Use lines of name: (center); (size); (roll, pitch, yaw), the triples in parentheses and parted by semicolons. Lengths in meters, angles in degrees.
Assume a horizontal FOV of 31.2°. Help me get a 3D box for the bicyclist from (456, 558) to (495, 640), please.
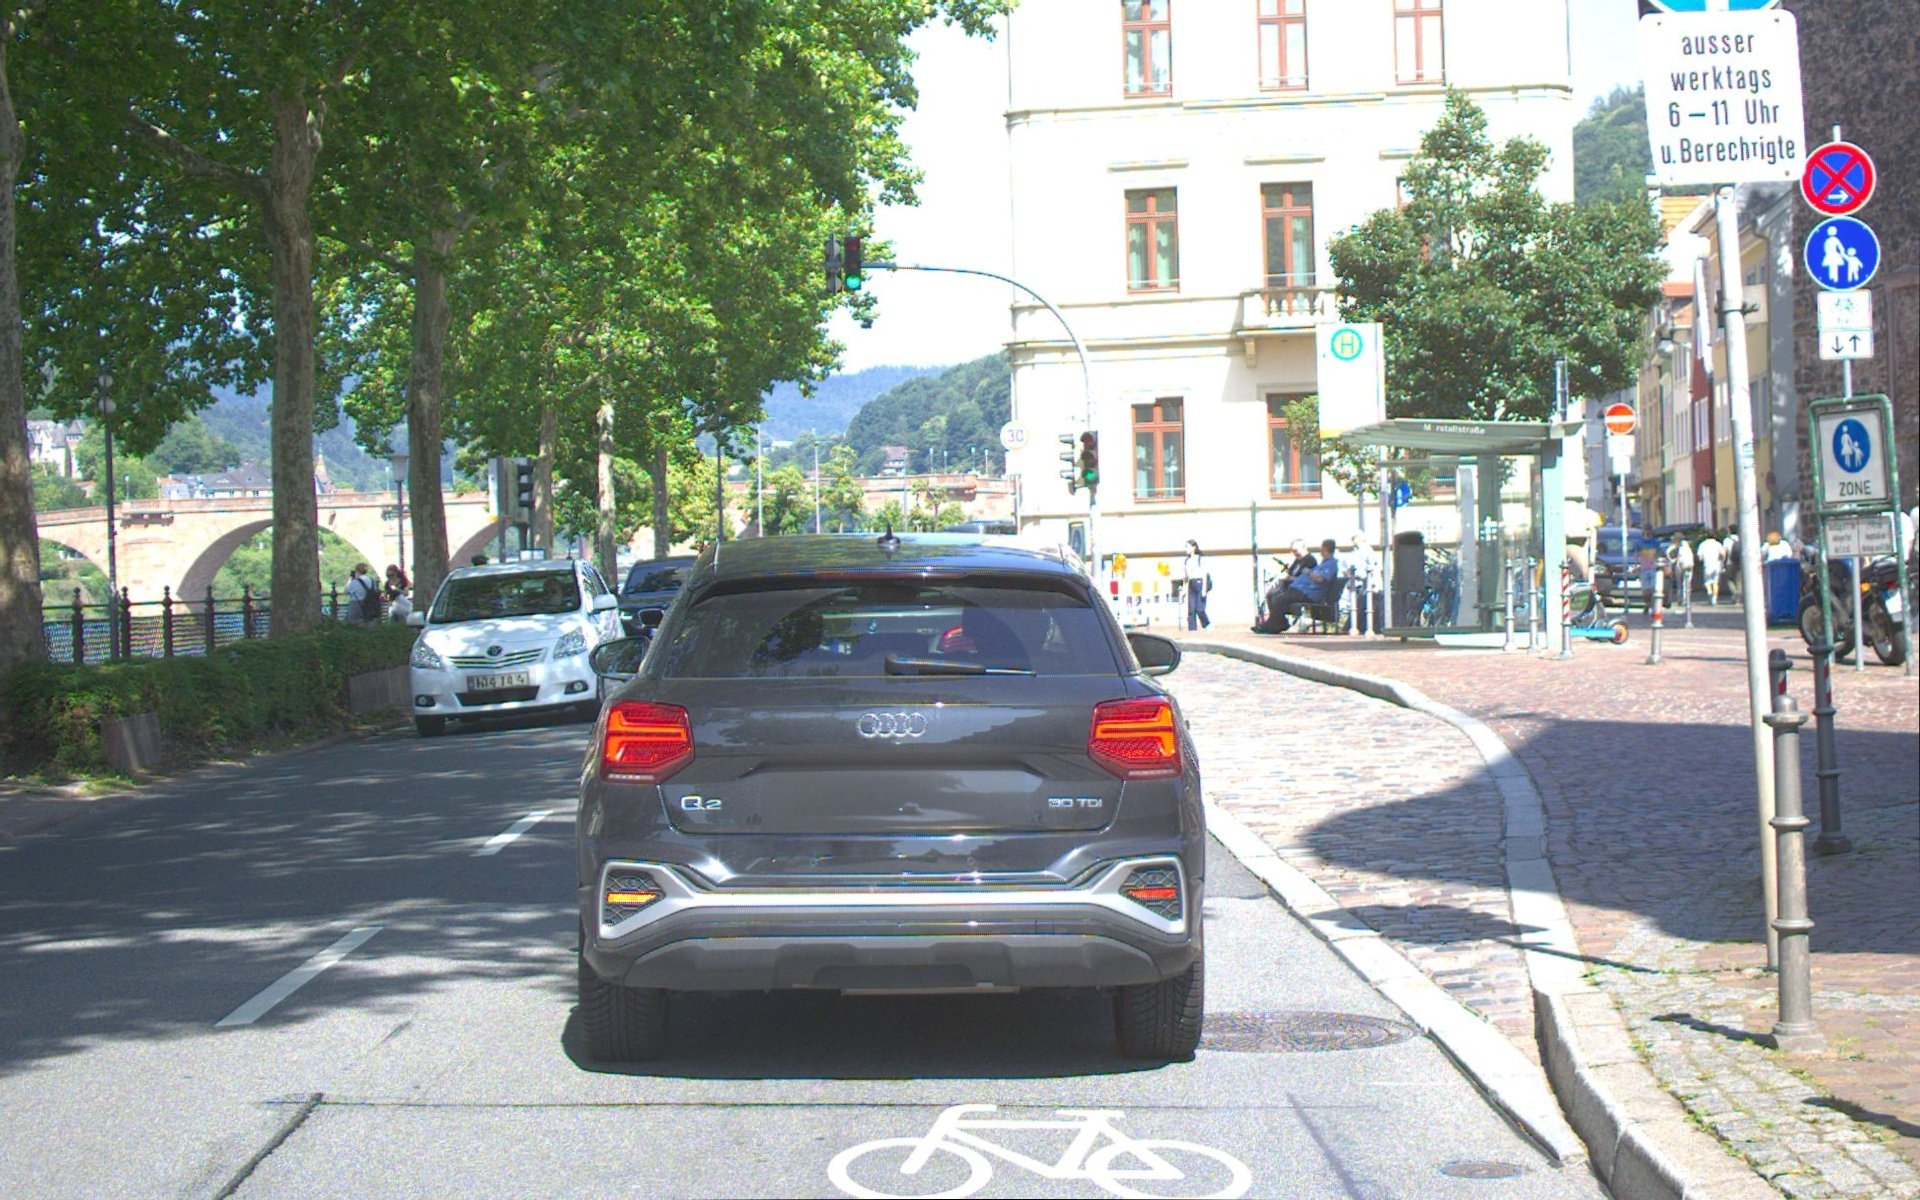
bicyclist: (-7.741, -0.013, 54.964); (0.566, 1.307, 0.552); (1, 0, -5)

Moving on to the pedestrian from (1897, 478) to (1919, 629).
pedestrian: (12.504, -0.587, 44.174); (0.668, 1.913, 0.821); (1, 0, -2)

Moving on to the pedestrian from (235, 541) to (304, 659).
pedestrian: (-10.804, -0.001, 53.812); (0.911, 1.838, 0.585); (1, 0, 4)

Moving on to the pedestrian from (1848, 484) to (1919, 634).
pedestrian: (11.735, -0.511, 43.640); (0.668, 1.877, 0.821); (1, 0, -2)

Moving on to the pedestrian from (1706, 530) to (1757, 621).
pedestrian: (17.106, -0.542, 76.254); (0.940, 2.007, 0.807); (1, 0, 0)

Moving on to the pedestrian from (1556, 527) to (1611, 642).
pedestrian: (7.511, -0.187, 41.443); (0.557, 1.380, 0.588); (1, 0, 2)

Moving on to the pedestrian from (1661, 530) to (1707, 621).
pedestrian: (16.088, -0.546, 76.382); (0.839, 2.007, 0.738); (1, 0, 0)

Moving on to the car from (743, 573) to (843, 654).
car: (-3.780, 0.299, 78.380); (1.993, 1.800, 4.000); (1, 0, 1)

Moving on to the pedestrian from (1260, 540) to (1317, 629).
pedestrian: (4.578, -0.212, 47.889); (0.663, 1.227, 0.641); (1, 0, -6)

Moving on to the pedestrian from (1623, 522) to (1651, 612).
pedestrian: (12.713, -0.617, 64.577); (0.449, 1.675, 0.466); (1, 0, 3)

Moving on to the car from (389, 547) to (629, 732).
car: (-4.339, 0.328, 33.616); (1.738, 1.567, 4.092); (-4, 1, -1)

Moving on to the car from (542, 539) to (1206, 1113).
car: (-0.248, 0.565, 10.878); (1.743, 1.504, 3.647); (0, 1, -1)

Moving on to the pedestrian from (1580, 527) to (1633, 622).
pedestrian: (13.750, -0.546, 73.151); (0.944, 2.007, 0.807); (1, 0, 0)

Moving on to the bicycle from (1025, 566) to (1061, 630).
bicycle: (1.413, -0.036, 58.695); (0.437, 1.082, 1.677); (1, 0, -5)

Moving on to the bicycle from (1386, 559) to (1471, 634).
bicycle: (6.541, -0.048, 47.987); (1.201, 1.031, 0.179); (1, 0, -19)

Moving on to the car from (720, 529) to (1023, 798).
car: (-0.552, 0.356, 22.263); (1.793, 1.589, 3.399); (1, 1, -1)

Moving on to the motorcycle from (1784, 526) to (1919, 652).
motorcycle: (7.613, -0.108, 29.155); (0.566, 1.009, 2.490); (-1, 1, -2)

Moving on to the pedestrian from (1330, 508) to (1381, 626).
pedestrian: (6.786, -0.564, 58.954); (0.640, 2.007, 0.664); (0, 0, 29)

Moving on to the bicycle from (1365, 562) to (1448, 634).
bicycle: (6.317, -0.023, 48.626); (1.184, 1.012, 0.179); (1, 0, -19)

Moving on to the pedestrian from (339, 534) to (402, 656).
pedestrian: (-9.783, -0.080, 57.058); (0.911, 2.007, 0.585); (1, 0, 4)

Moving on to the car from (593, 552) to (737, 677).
car: (-4.698, 0.191, 55.289); (1.813, 1.719, 4.422); (-6, 1, 0)

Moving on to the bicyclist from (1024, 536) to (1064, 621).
bicyclist: (1.426, -0.366, 58.733); (0.605, 1.445, 0.591); (1, 0, -5)

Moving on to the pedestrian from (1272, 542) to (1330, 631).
pedestrian: (4.673, -0.185, 47.152); (0.663, 1.207, 0.641); (1, 0, -6)

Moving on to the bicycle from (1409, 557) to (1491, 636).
bicycle: (6.734, -0.047, 47.232); (1.157, 1.066, 0.179); (1, 0, -19)

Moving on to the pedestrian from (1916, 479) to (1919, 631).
pedestrian: (13.011, -0.586, 45.009); (0.730, 2.007, 0.878); (1, 0, -1)

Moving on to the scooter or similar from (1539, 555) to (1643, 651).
scooter or similar: (7.055, 0.034, 38.430); (1.088, 1.062, 0.323); (1, 0, -2)

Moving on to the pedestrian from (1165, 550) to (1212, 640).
pedestrian: (3.818, -0.079, 57.467); (0.693, 1.495, 0.514); (1, 0, -4)

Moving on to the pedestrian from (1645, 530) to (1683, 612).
pedestrian: (13.216, -0.549, 64.563); (0.622, 1.526, 0.466); (1, 0, 3)

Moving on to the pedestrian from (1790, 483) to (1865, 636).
pedestrian: (10.788, -0.496, 42.749); (0.747, 1.884, 0.752); (1, 0, 2)

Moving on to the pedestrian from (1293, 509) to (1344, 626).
pedestrian: (6.197, -0.555, 59.446); (0.640, 2.007, 0.664); (0, 0, 29)
